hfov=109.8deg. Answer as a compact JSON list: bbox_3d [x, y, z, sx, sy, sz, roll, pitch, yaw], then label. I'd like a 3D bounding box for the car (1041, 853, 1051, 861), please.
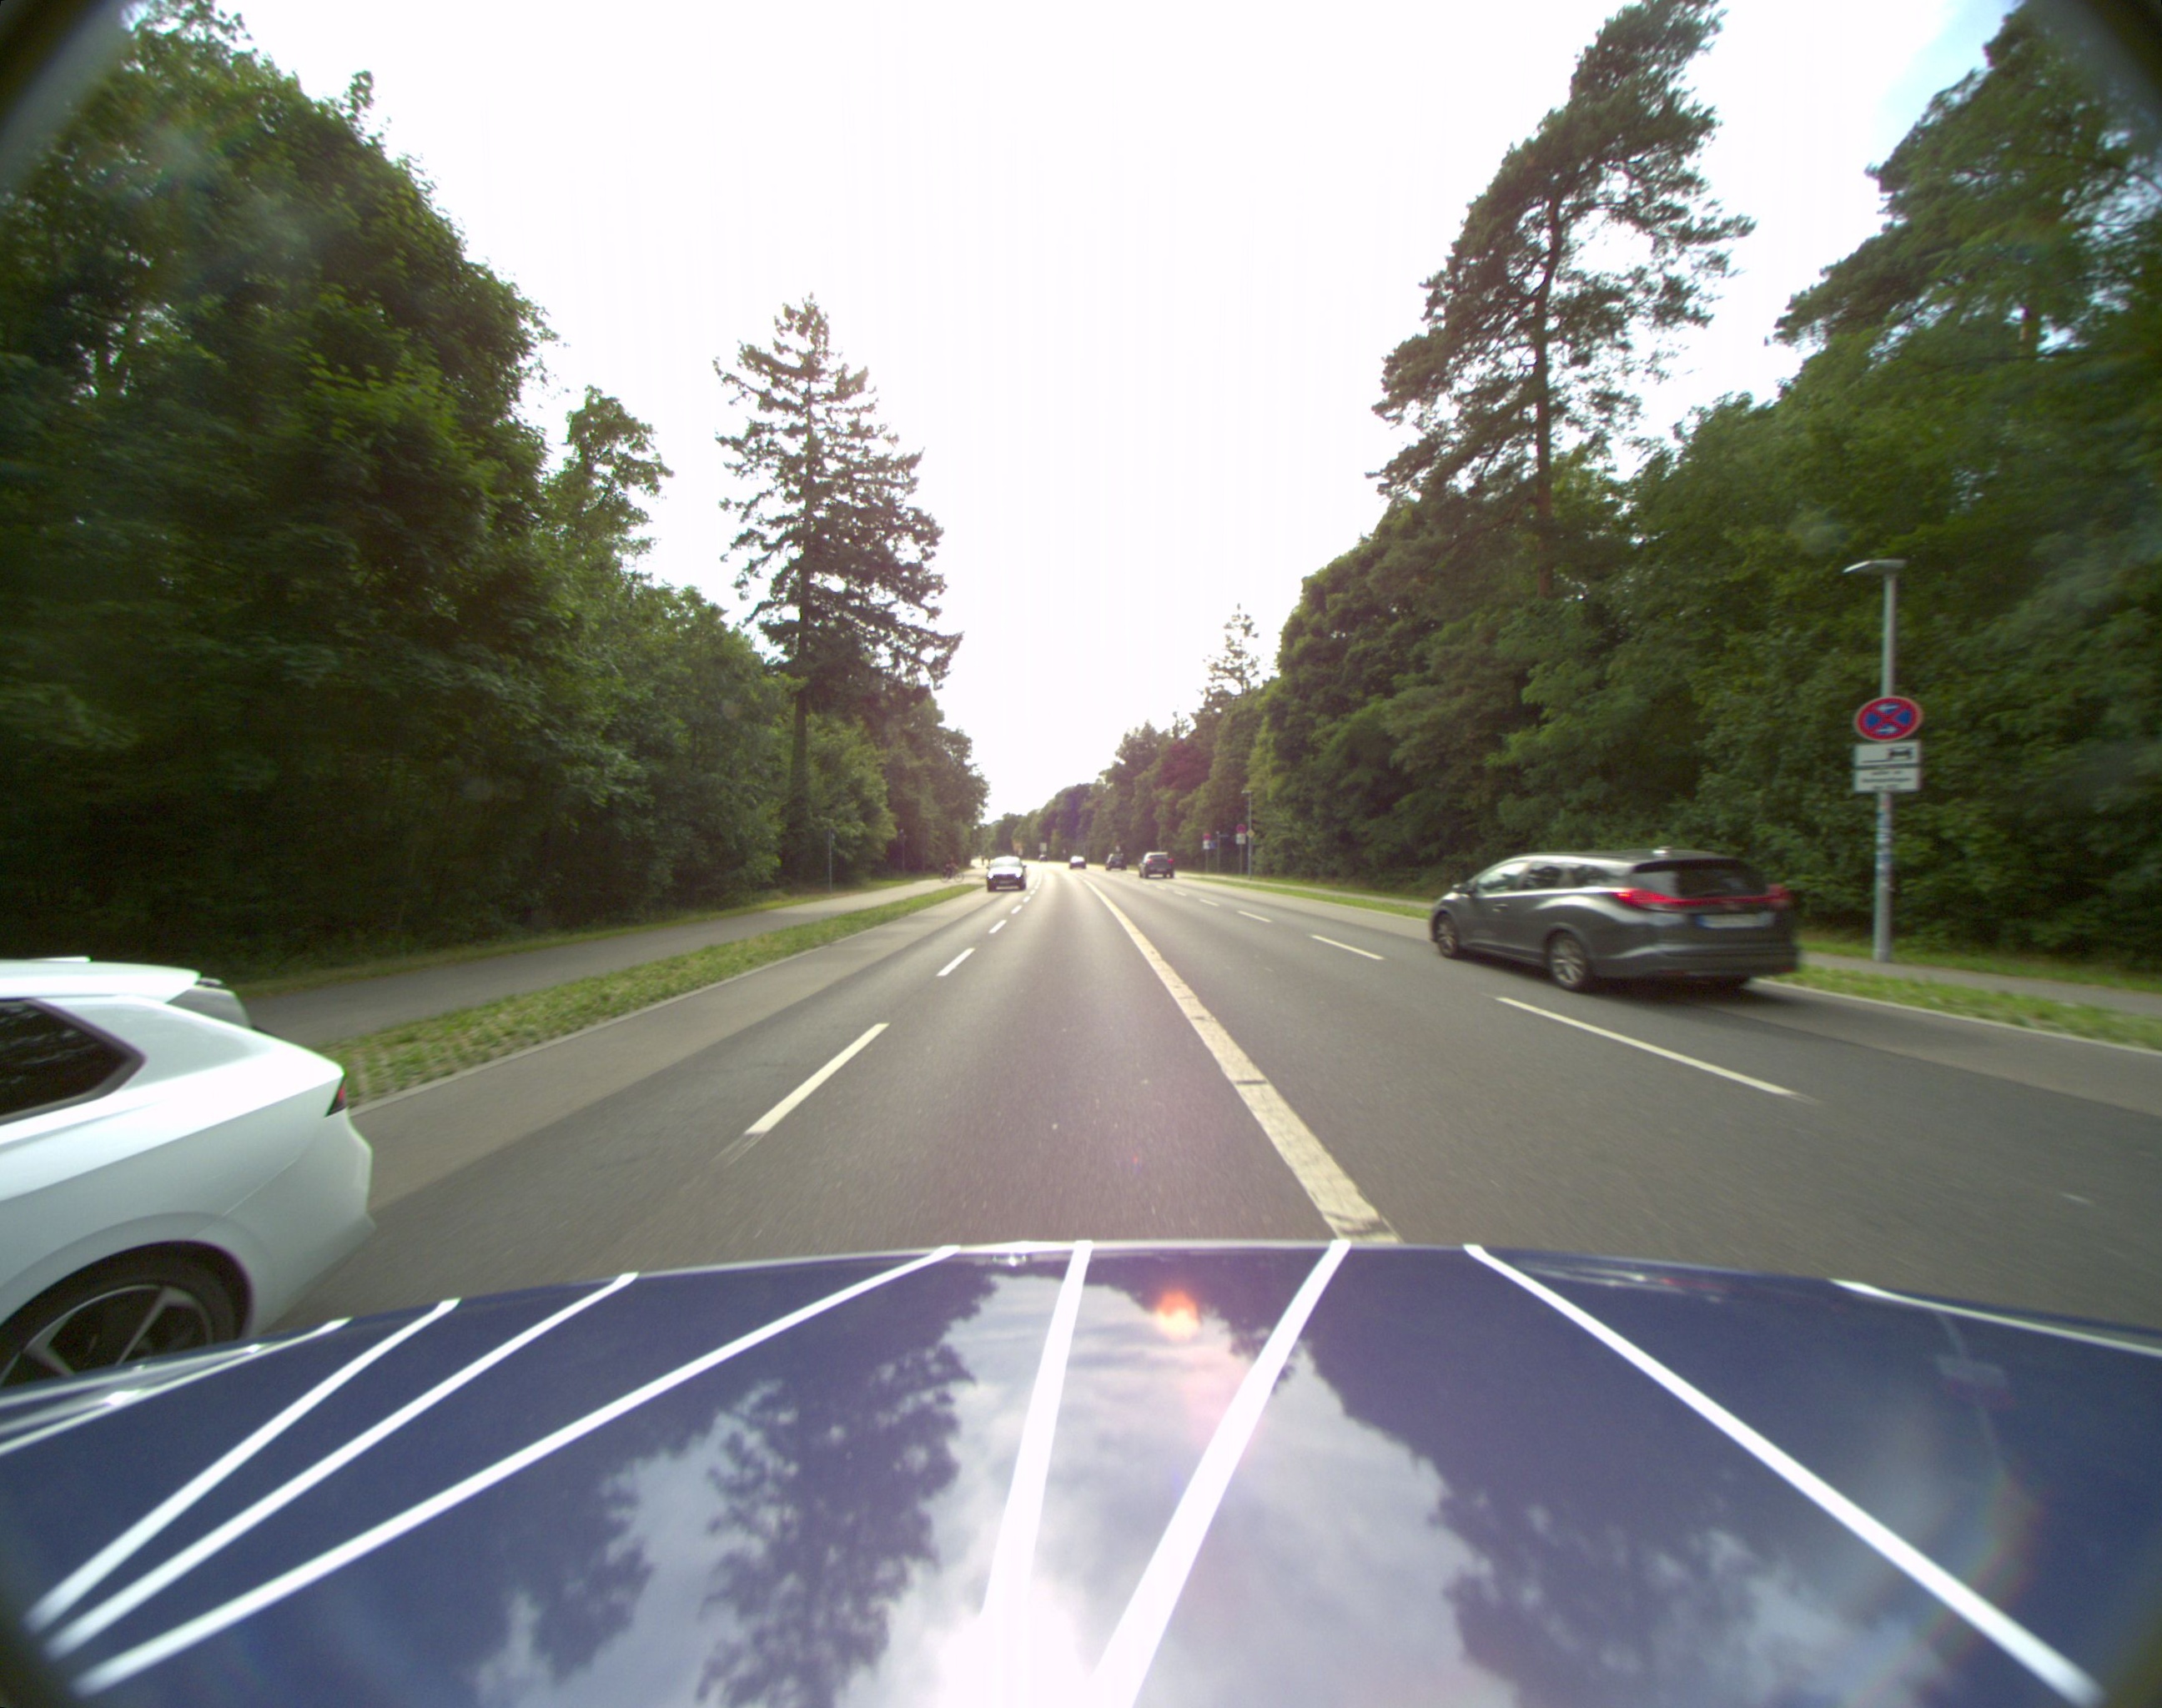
[{"bbox_3d":[-8.614,0.795,186.636,2.000,1.781,4.744,-3,1,-7],"label":"car"}]

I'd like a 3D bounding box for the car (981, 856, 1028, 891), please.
[{"bbox_3d":[-3.890,0.962,39.243,1.999,1.565,3.999,-3,1,-1],"label":"car"}]

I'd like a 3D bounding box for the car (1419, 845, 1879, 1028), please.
[{"bbox_3d":[5.820,0.679,8.709,1.901,1.475,4.537,-1,1,1],"label":"car"}]

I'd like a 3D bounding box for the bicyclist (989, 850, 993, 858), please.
[{"bbox_3d":[-15.482,0.048,131.281,0.522,1.407,1.185,-1,1,-14],"label":"bicyclist"}]

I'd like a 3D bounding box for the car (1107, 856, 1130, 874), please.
[{"bbox_3d":[3.794,1.078,77.511,1.928,1.646,4.468,-2,1,-1],"label":"car"}]

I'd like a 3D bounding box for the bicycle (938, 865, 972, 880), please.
[{"bbox_3d":[-8.671,1.273,52.261,2.178,0.988,0.711,-1,1,10],"label":"bicycle"}]

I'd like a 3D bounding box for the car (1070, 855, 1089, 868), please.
[{"bbox_3d":[-0.221,0.887,91.913,1.999,1.427,4.719,-2,1,-3],"label":"car"}]

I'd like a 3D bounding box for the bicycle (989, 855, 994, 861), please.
[{"bbox_3d":[-15.454,0.660,131.258,0.568,0.906,1.752,1,0,-14],"label":"bicycle"}]

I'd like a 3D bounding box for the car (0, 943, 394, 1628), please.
[{"bbox_3d":[-3.284,1.009,0.371,1.841,1.401,4.491,-3,-1,-1],"label":"car"}]

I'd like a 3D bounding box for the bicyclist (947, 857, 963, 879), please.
[{"bbox_3d":[-8.673,0.957,52.269,0.900,1.462,0.711,-1,1,10],"label":"bicyclist"}]

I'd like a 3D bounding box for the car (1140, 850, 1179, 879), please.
[{"bbox_3d":[5.164,0.644,50.631,1.999,1.607,4.662,-5,1,0],"label":"car"}]
